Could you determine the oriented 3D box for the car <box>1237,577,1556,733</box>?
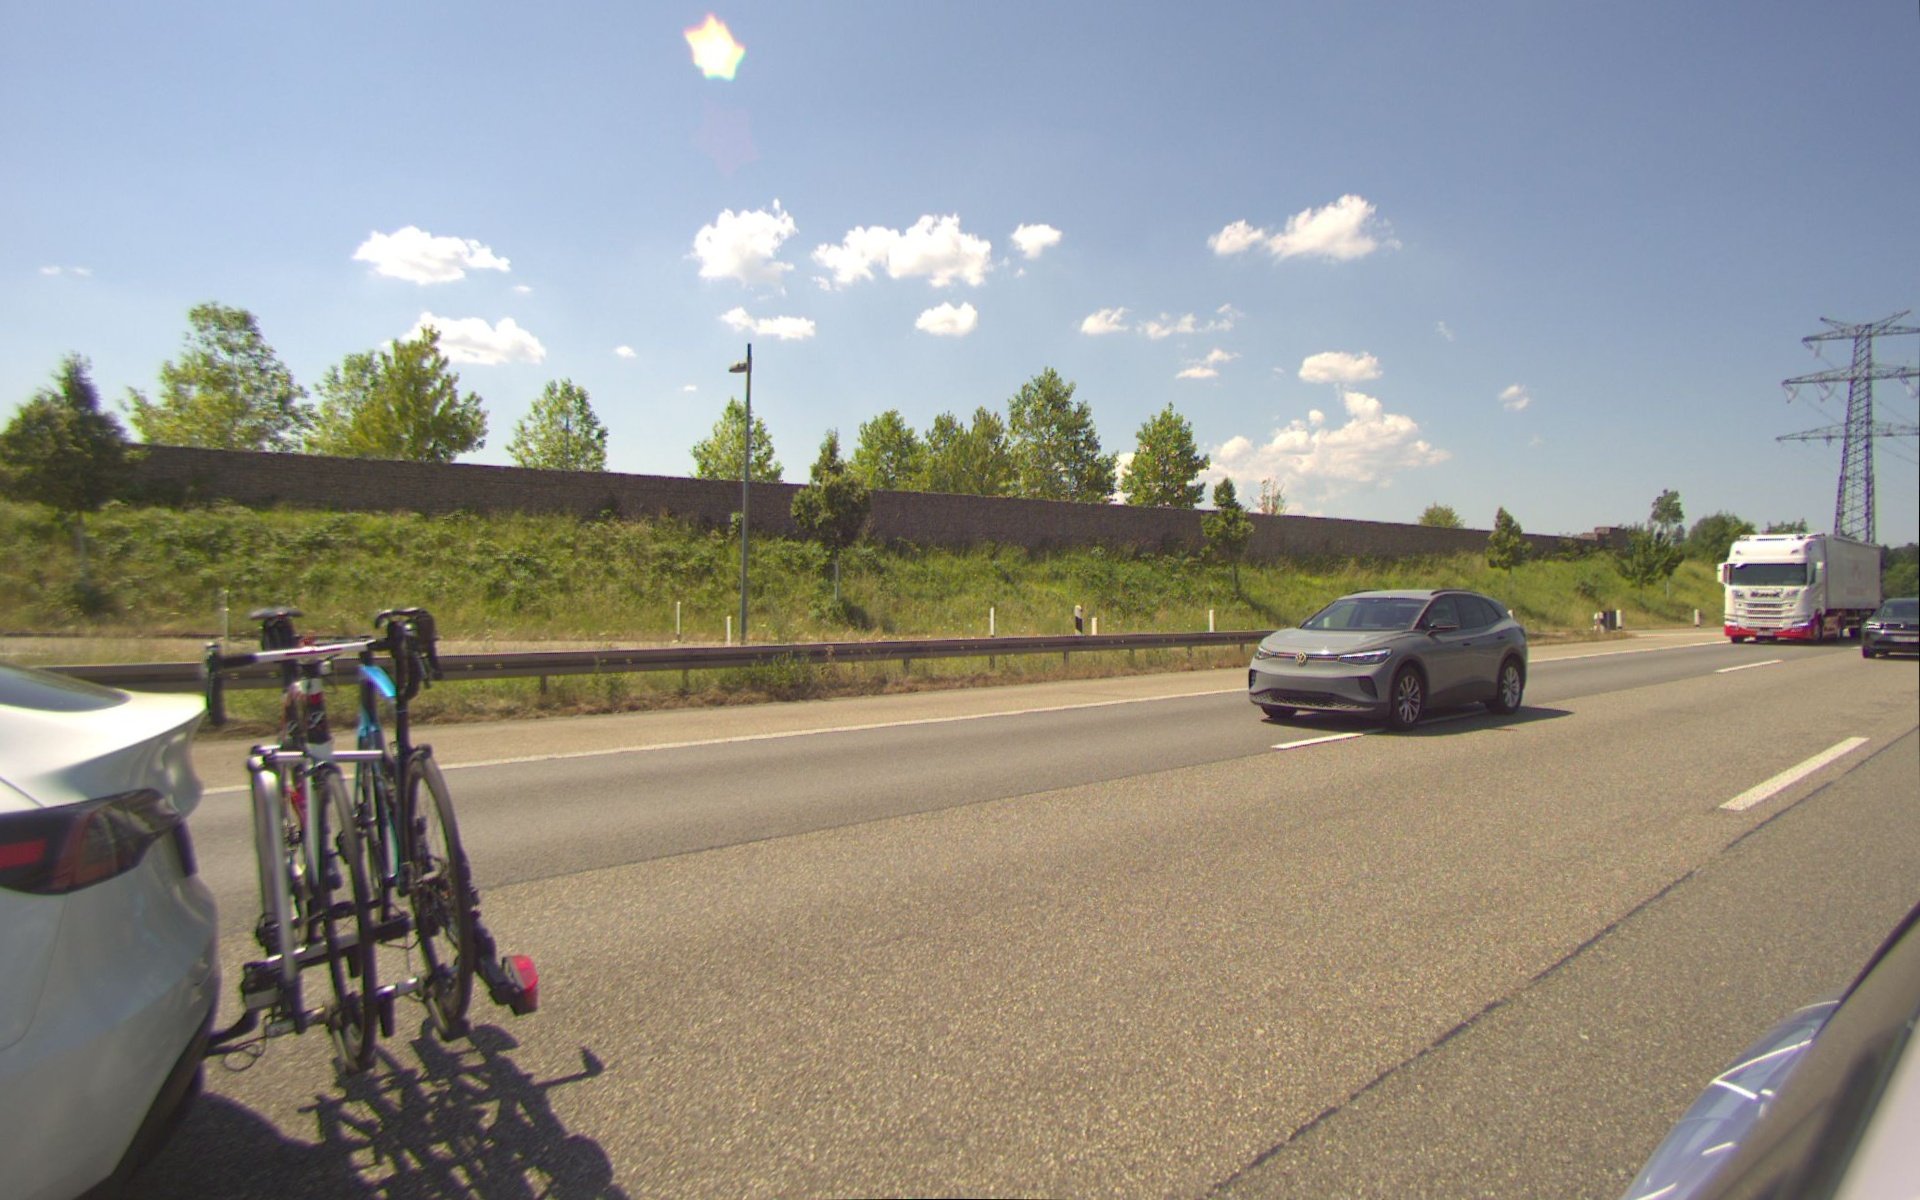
[{"bbox_3d":[5.686,0.564,12.926,4.503,1.657,1.872,-1,0,-39],"label":"car"}]

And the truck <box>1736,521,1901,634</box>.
[{"bbox_3d":[34.705,-0.845,40.640,12.283,3.957,3.074,0,0,-40],"label":"truck"}]

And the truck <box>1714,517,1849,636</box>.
[{"bbox_3d":[29.190,-0.800,35.960,3.779,3.957,3.075,0,0,-40],"label":"truck"}]

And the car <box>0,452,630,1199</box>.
[{"bbox_3d":[-3.485,0.596,1.329,5.503,1.657,1.954,-1,0,-41],"label":"car"}]

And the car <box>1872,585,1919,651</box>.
[{"bbox_3d":[25.860,0.431,26.841,3.975,1.667,1.954,-1,0,-40],"label":"car"}]
